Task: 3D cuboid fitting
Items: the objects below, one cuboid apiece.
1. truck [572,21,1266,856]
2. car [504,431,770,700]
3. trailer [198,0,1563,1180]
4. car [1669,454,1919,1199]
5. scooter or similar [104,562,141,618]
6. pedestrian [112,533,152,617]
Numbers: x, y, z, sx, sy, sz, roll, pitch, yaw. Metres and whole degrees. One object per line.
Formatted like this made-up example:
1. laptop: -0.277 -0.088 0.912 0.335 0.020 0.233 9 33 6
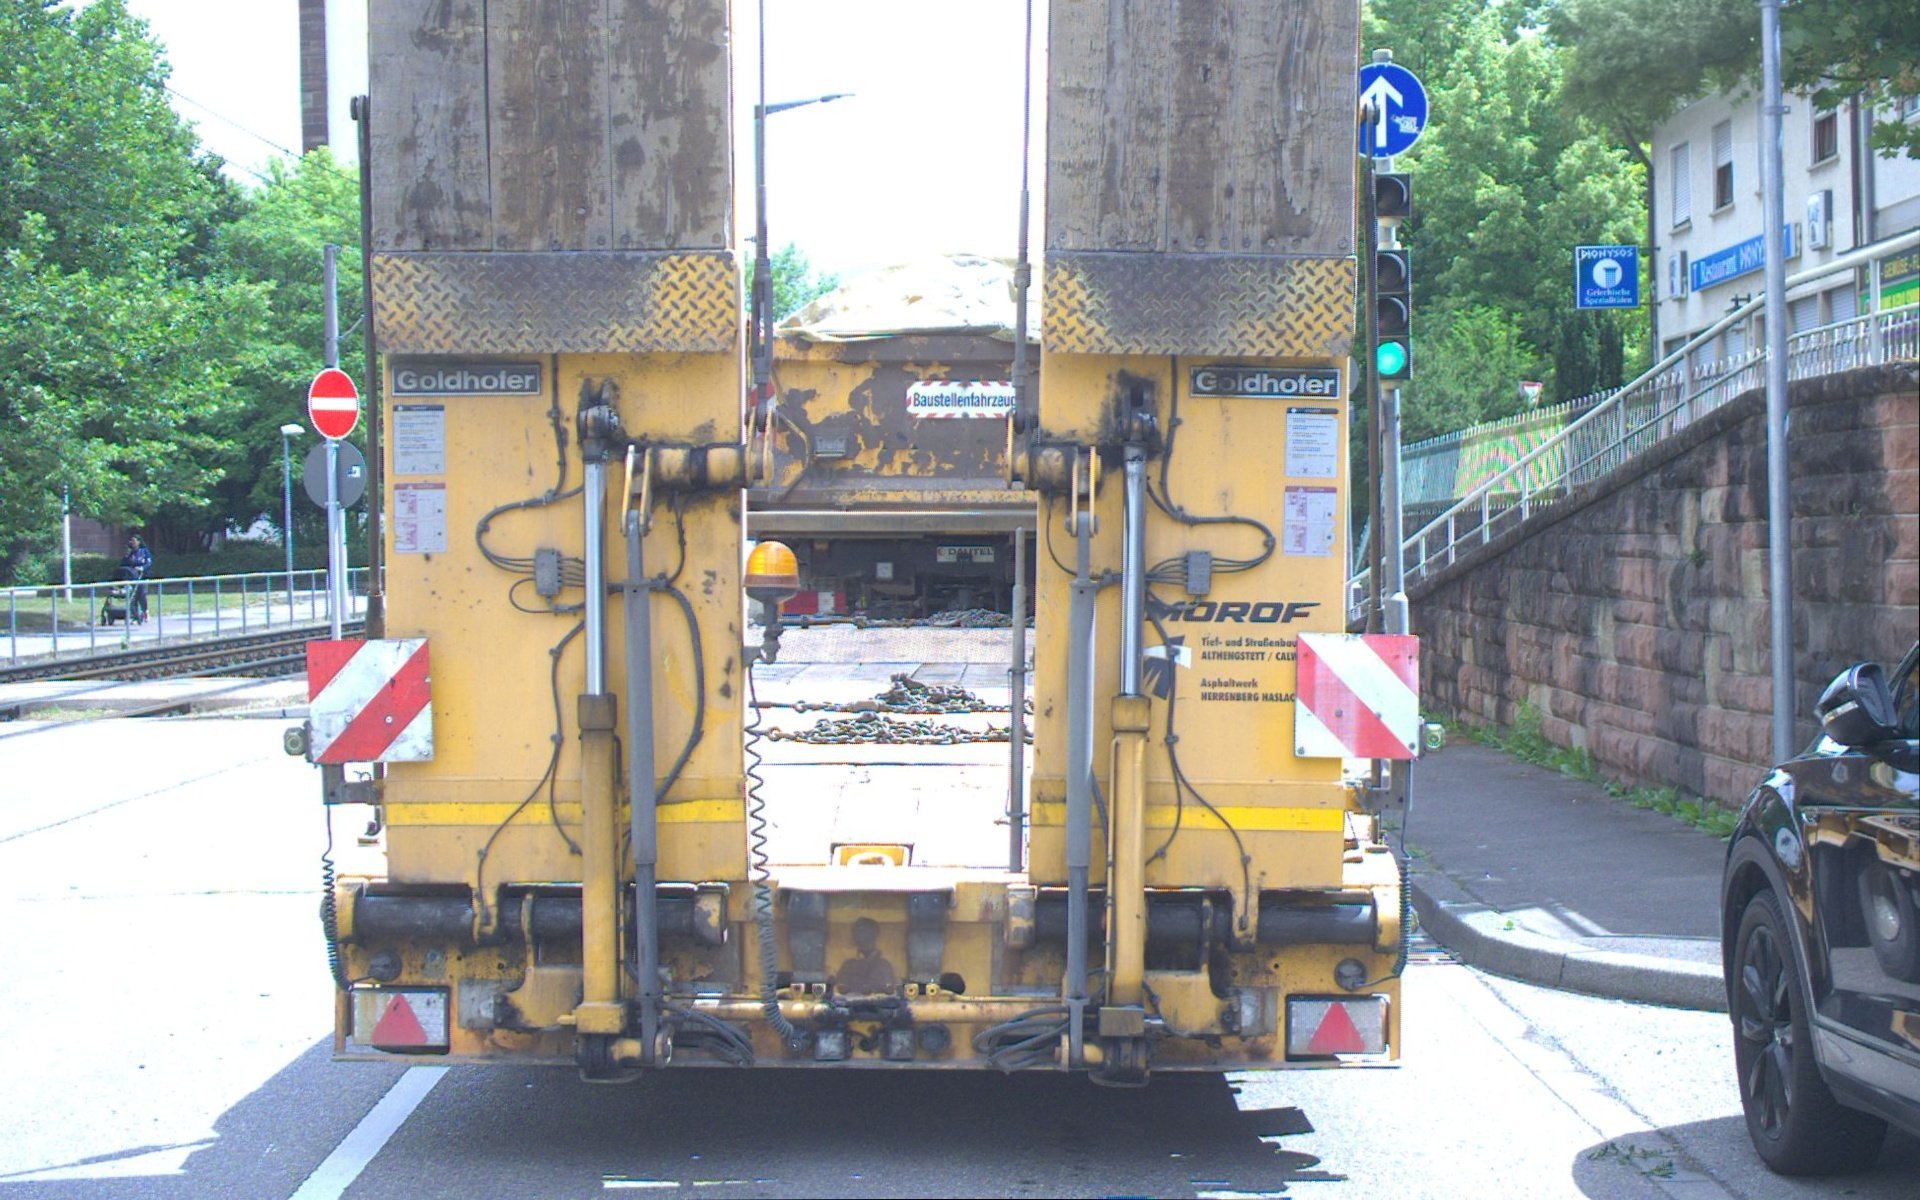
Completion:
1. truck: -0.169 -0.747 17.320 2.942 3.560 4.877 -1 1 0
2. car: -3.025 -0.358 33.280 2.013 2.351 5.383 1 1 0
3. trailer: -0.172 -0.639 11.861 2.945 3.589 8.684 -1 1 0
4. car: 2.724 0.508 6.605 1.851 1.633 4.000 -2 1 0
5. scooter or similar: -14.987 -0.181 61.525 0.505 0.968 0.646 1 1 -2
6. pedestrian: -14.970 -0.456 62.176 0.563 1.508 0.646 1 1 -2
